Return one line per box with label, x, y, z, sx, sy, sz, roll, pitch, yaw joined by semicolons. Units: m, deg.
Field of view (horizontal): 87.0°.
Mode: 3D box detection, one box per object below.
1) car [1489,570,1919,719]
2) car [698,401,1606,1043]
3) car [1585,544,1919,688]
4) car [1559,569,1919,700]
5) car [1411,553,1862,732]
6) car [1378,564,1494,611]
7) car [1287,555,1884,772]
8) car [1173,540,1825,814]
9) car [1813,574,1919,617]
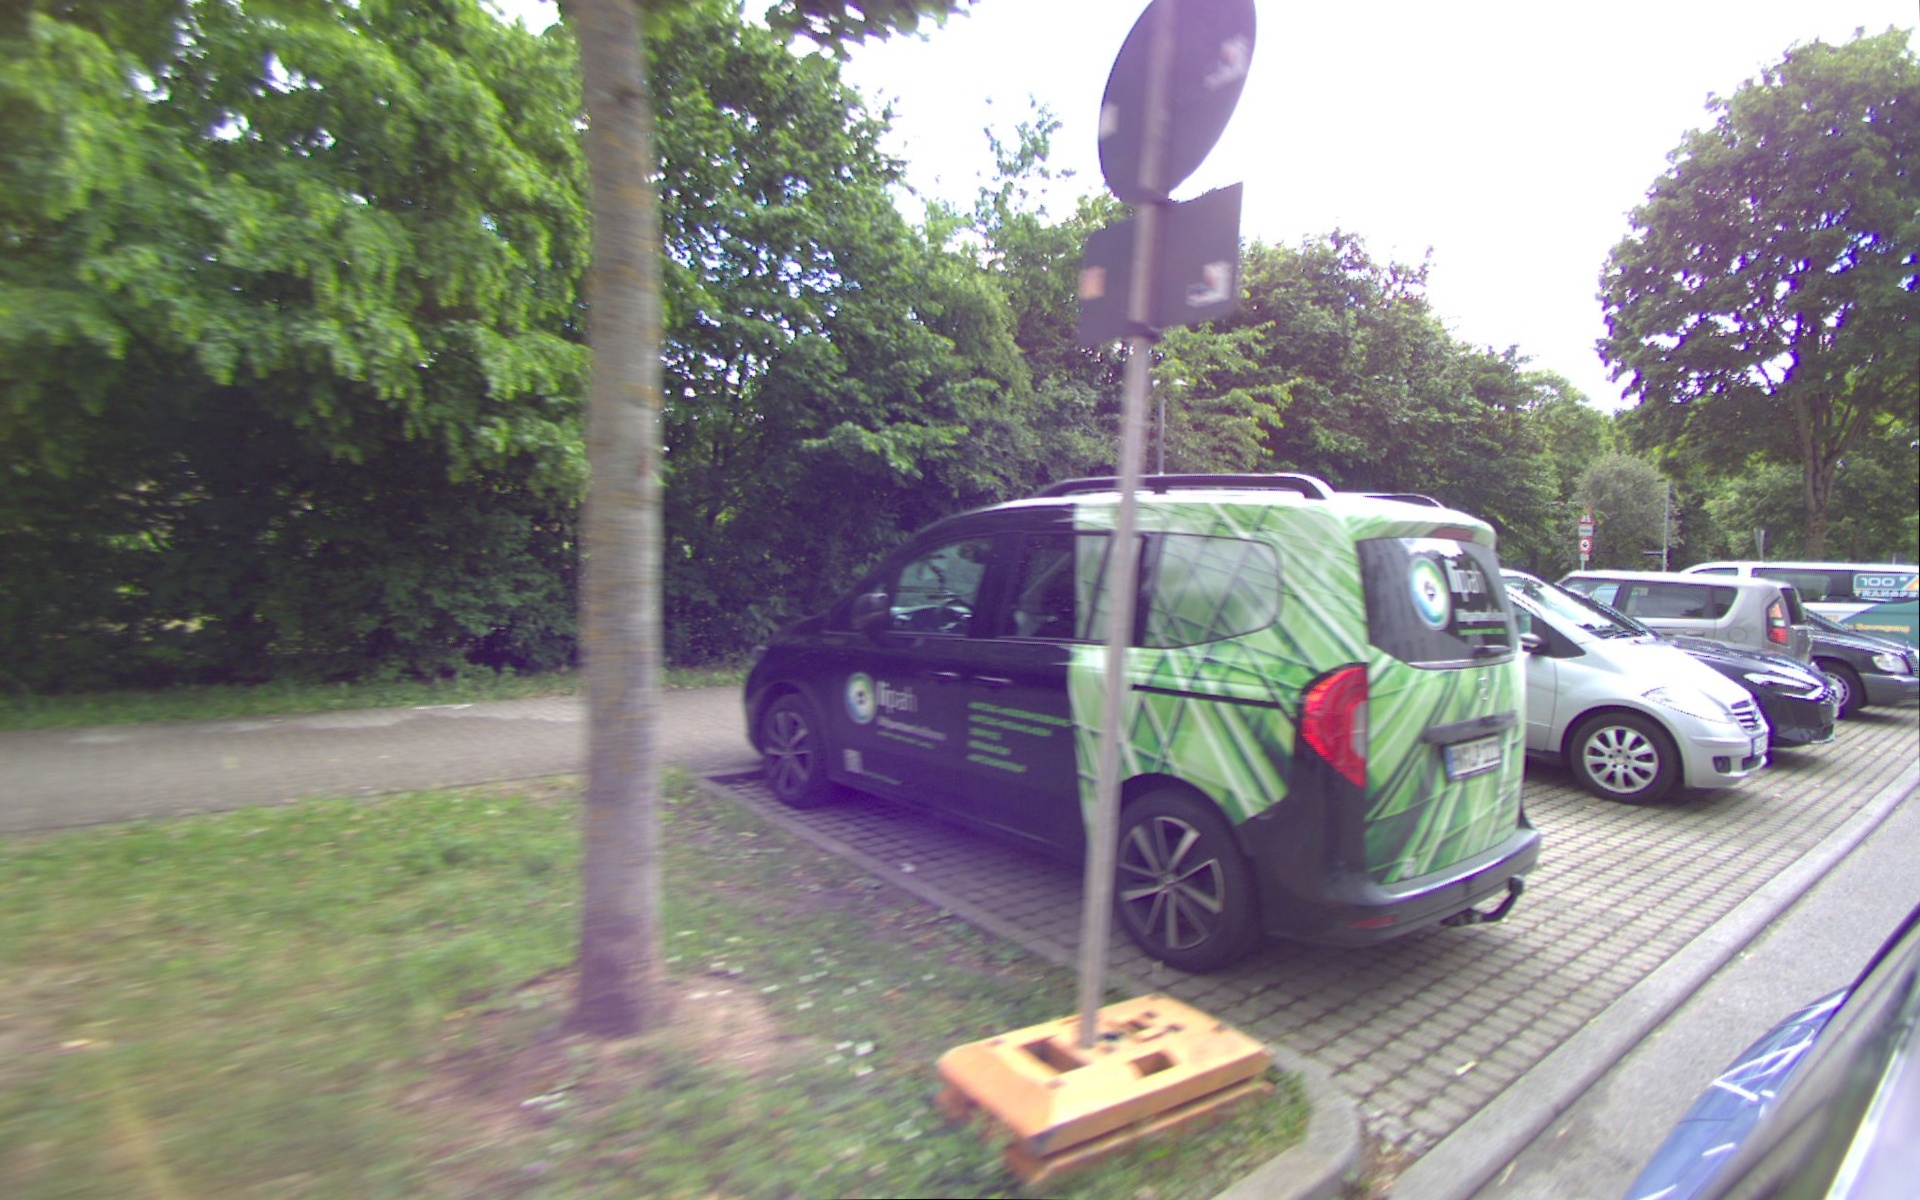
car;10.007;0.446;13.552;2.021;1.451;4.735;0;4;-40
car;0.536;0.230;5.298;1.883;1.927;4.388;0;4;-41
car;13.452;0.166;16.721;4.976;1.996;1.817;5;4;45
car;11.932;0.409;15.161;1.815;1.534;4.713;0;4;-41
car;7.822;0.338;12.013;1.859;1.628;4.074;0;4;-41
car;18.906;-0.529;40.317;1.736;1.689;3.789;0;3;-39
car;6.017;0.411;10.207;2.077;1.517;4.730;0;4;-44
car;4.174;0.373;8.464;1.883;1.596;4.388;0;4;-41
car;49.717;-0.249;54.962;4.959;2.038;2.131;6;4;45
